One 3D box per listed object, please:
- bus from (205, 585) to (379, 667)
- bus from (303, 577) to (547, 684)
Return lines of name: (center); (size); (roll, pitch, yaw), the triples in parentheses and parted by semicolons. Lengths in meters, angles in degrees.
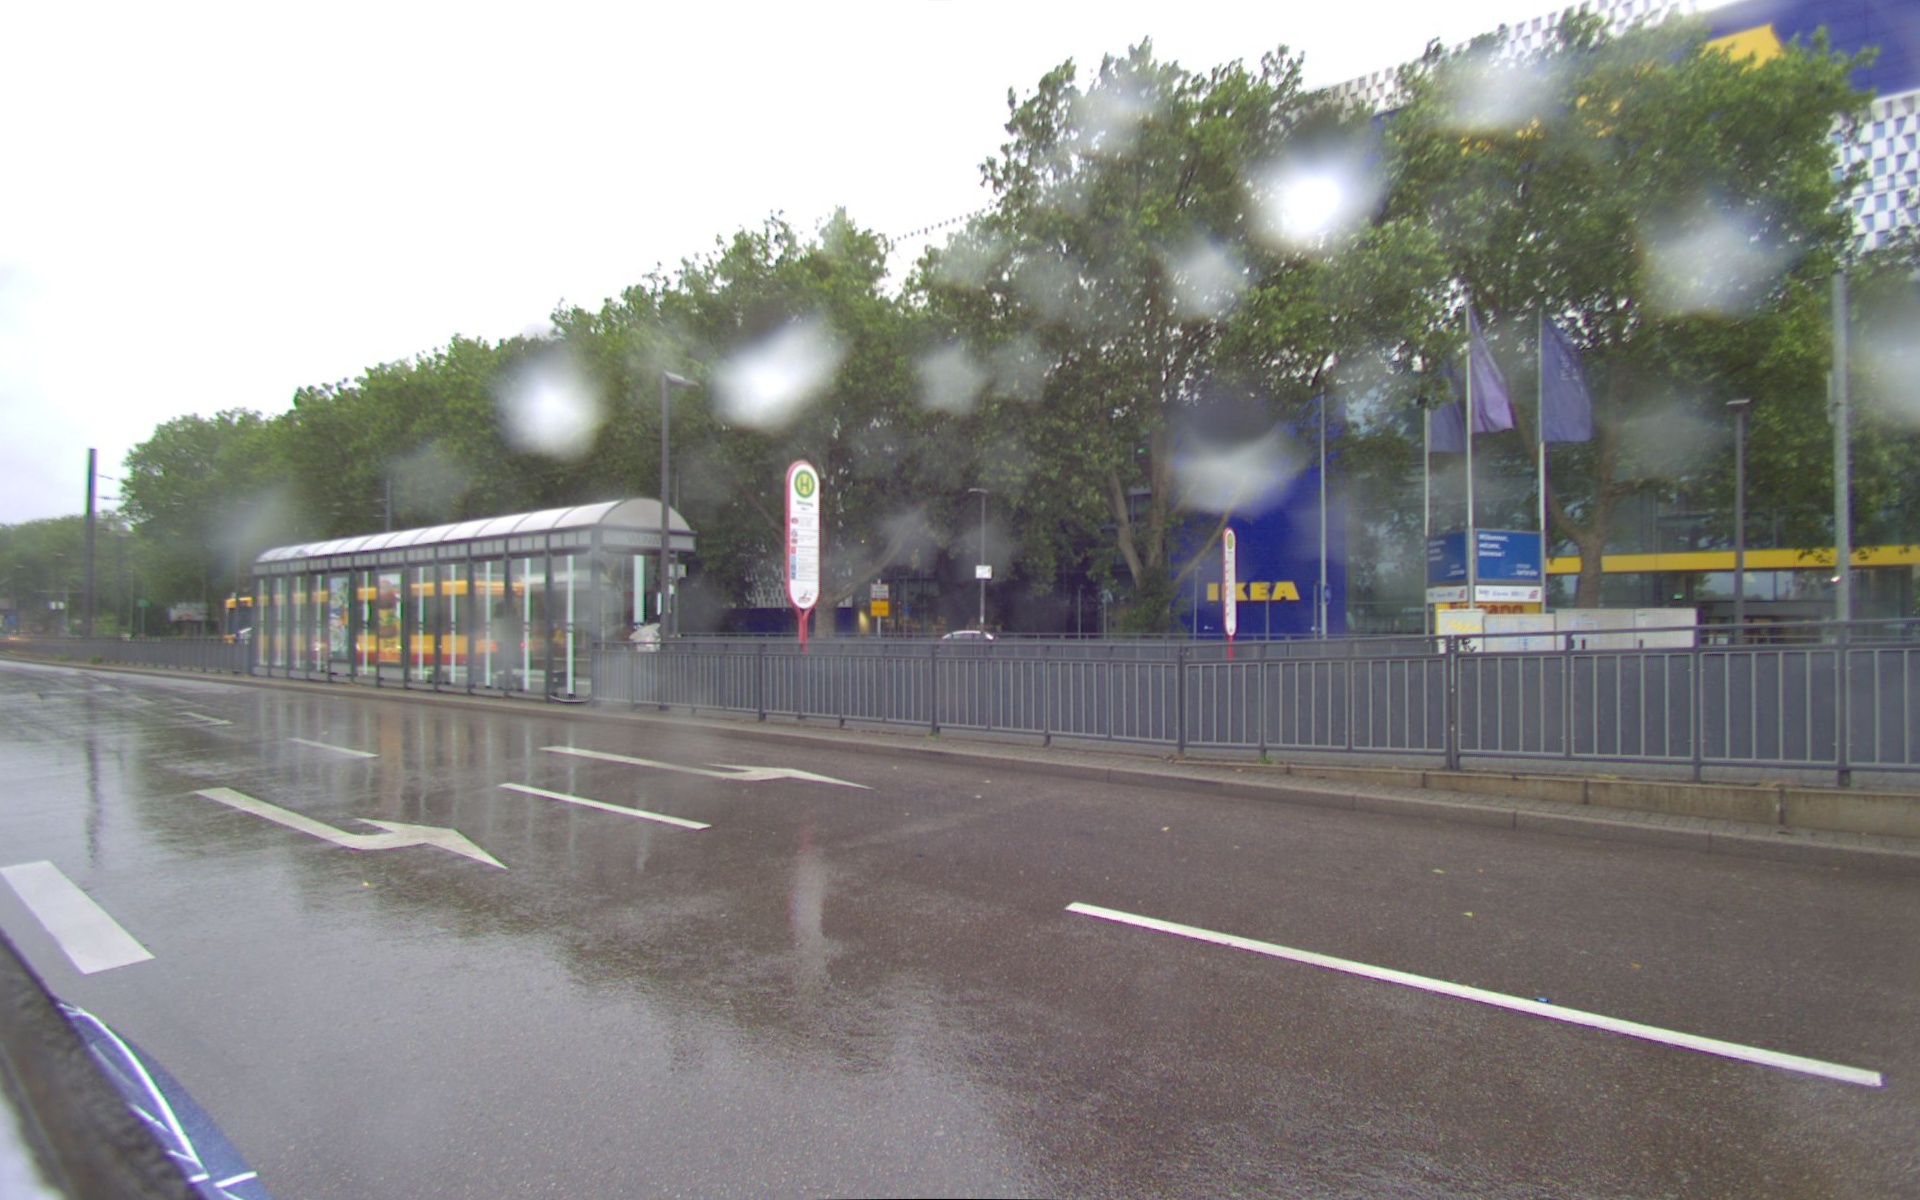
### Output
bus: (-31.874, 1.134, 47.801); (15.055, 3.354, 2.901); (-1, 0, 41)
bus: (-20.473, 1.013, 37.865); (15.056, 3.354, 2.900); (-1, 0, 41)
